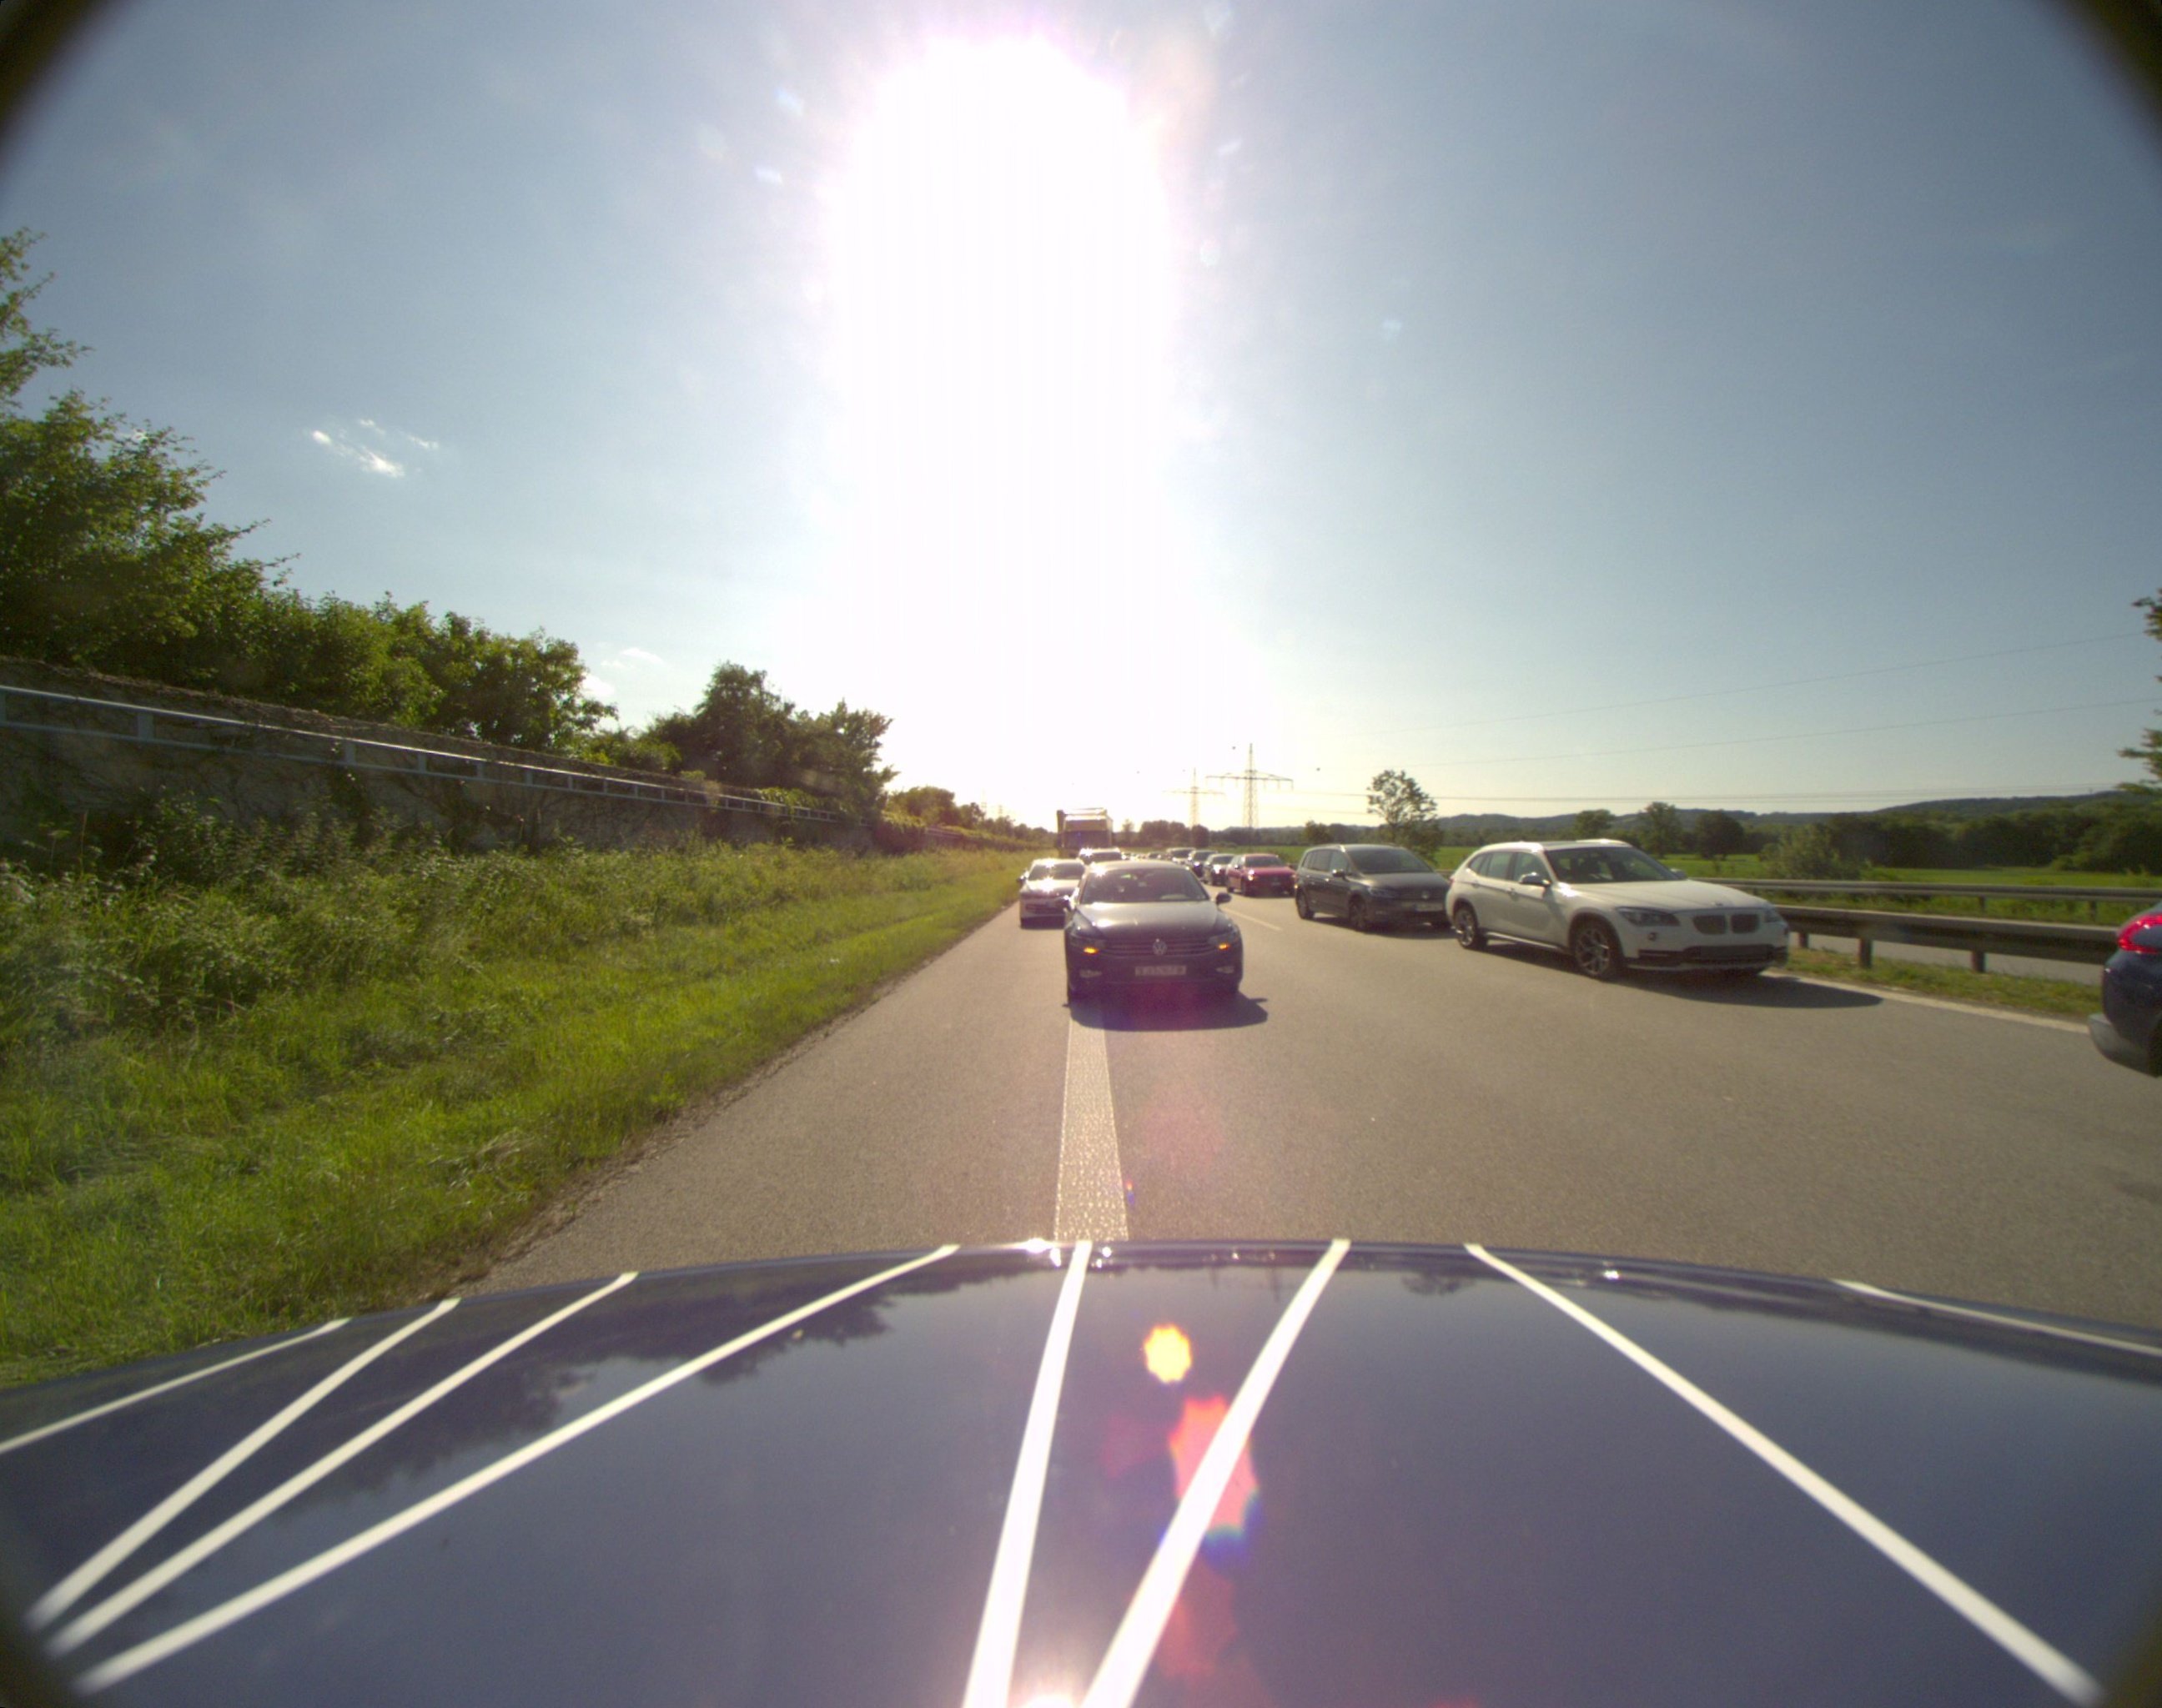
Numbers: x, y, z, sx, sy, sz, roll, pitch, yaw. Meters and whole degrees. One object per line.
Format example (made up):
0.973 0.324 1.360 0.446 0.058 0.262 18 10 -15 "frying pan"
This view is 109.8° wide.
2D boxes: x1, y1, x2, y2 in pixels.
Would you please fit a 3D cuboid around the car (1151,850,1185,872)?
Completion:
6.344 0.473 55.726 1.999 1.522 3.999 0 0 -1 "car"

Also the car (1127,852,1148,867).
5.829 0.586 78.517 1.819 1.450 4.117 -2 0 1 "car"

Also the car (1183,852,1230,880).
6.826 0.620 41.689 1.894 1.446 4.000 0 0 0 "car"

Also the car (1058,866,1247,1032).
0.662 0.920 9.229 1.717 1.405 4.325 -2 0 0 "car"

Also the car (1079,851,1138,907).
0.815 0.748 24.982 1.717 1.614 4.325 -2 0 0 "car"

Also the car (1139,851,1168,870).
6.146 0.526 65.017 1.999 1.522 3.999 0 0 -1 "car"

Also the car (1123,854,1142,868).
5.708 0.785 85.108 1.820 1.450 4.117 0 0 0 "car"

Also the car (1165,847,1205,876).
6.617 0.433 48.556 1.902 1.777 4.199 0 0 -1 "car"

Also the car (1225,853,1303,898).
6.382 0.706 26.894 1.819 1.450 4.117 0 0 1 "car"

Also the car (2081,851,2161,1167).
6.181 0.735 2.038 1.692 1.526 3.947 -2 0 -4 "car"

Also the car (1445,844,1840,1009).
6.444 0.694 9.444 1.832 1.564 4.163 -1 0 0 "car"

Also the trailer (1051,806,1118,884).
0.522 -0.591 47.916 3.387 4.089 13.954 -2 1 3 "trailer"

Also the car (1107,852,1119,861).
5.284 0.436 124.596 1.819 1.450 4.117 -2 0 1 "car"

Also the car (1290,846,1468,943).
5.695 0.683 15.122 1.820 1.607 4.116 -2 0 -1 "car"

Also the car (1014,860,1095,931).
-0.570 0.919 18.511 1.717 1.417 4.325 -2 0 0 "car"

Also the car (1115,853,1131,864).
5.745 0.590 104.228 1.820 1.450 4.117 -2 0 0 "car"

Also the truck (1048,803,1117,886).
0.163 -0.504 41.816 3.333 4.089 6.969 -2 1 1 "truck"

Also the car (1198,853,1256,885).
6.765 0.674 35.599 1.895 1.390 3.999 -1 0 -1 "car"

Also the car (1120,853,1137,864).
5.979 0.548 95.804 1.819 1.450 4.117 0 0 1 "car"
